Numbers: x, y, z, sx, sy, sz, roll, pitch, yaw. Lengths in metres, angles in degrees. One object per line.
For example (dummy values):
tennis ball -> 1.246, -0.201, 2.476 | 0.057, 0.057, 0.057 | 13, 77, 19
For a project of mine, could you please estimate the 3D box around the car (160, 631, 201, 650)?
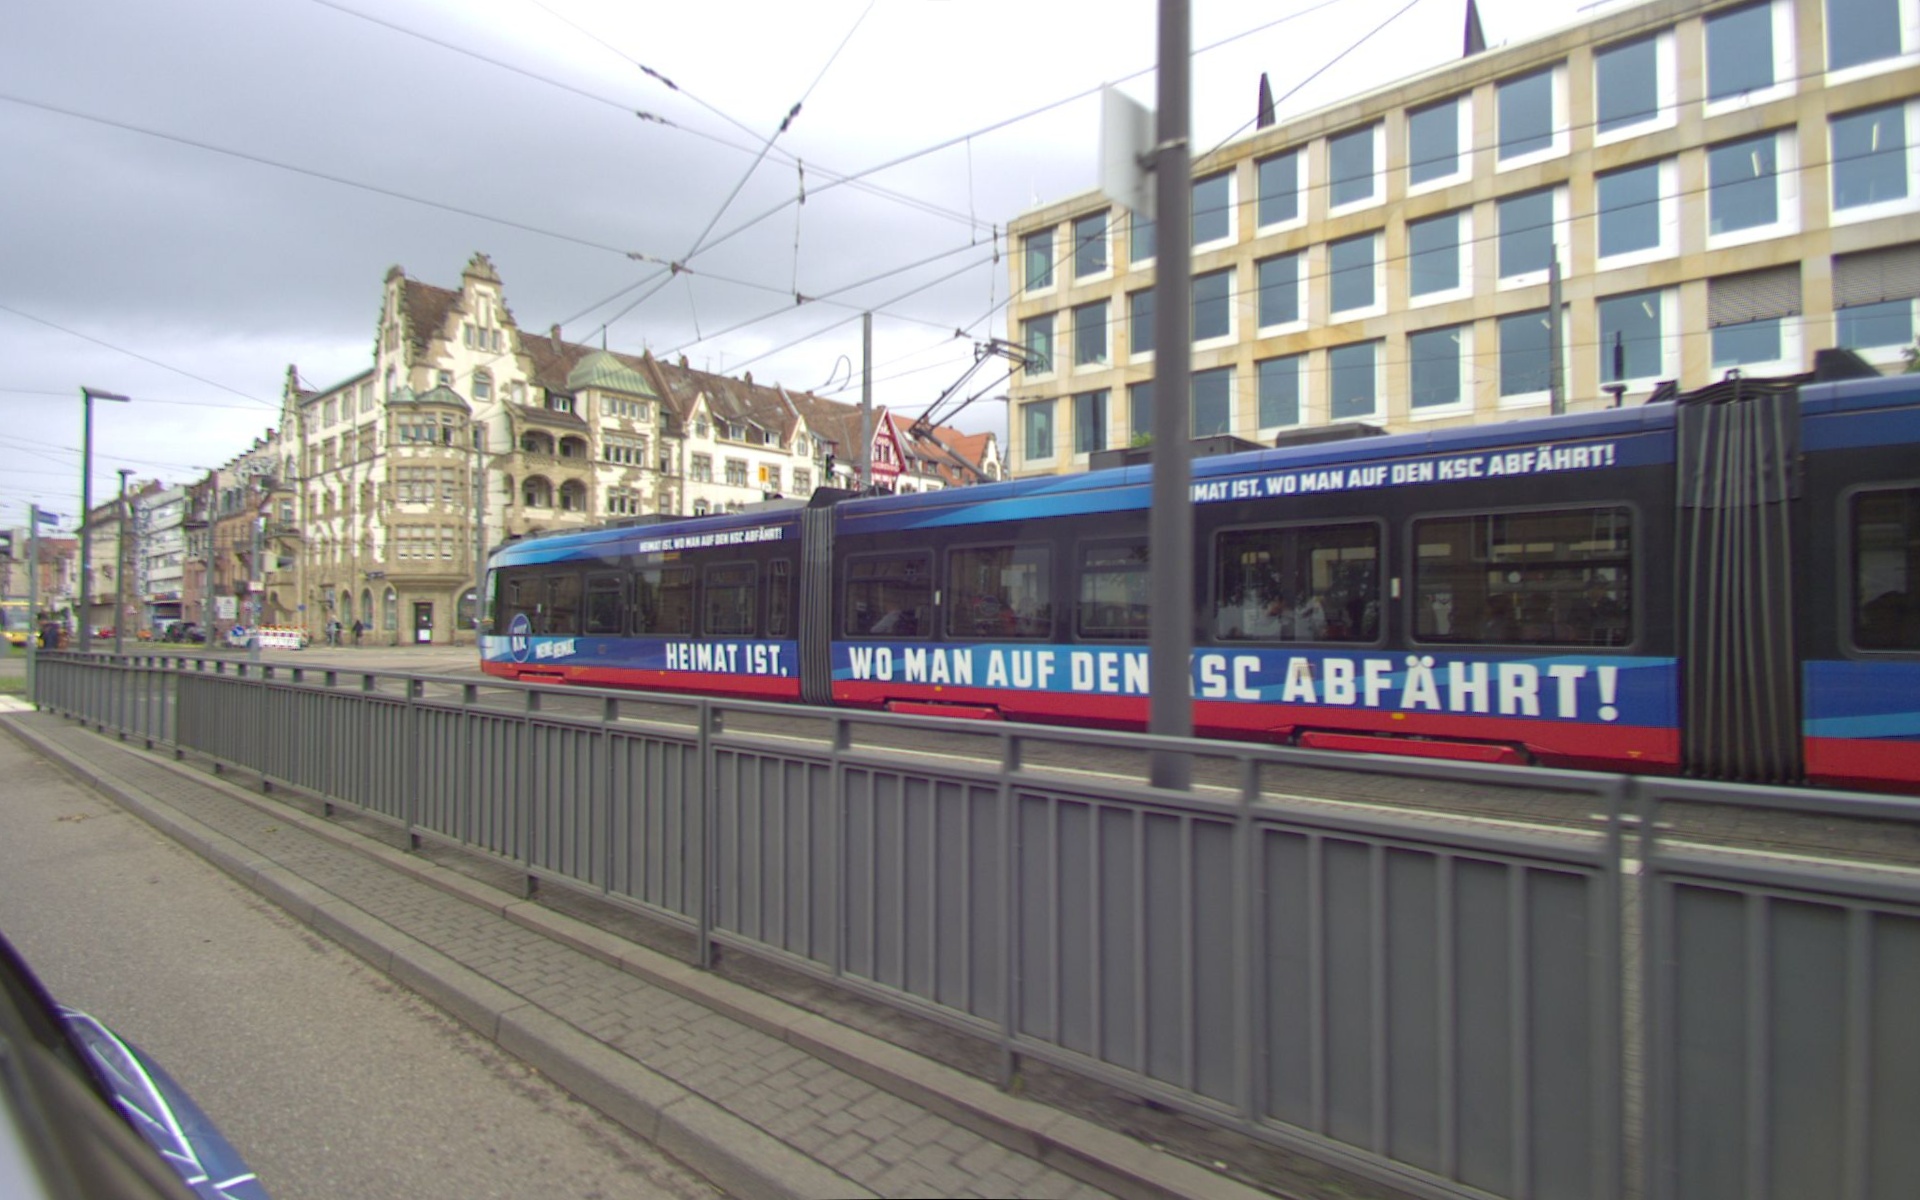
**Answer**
car -> -68.859, 3.571, 89.341 | 3.995, 1.608, 1.974 | -1, -2, 39

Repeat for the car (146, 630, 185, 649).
car -> -73.662, 3.648, 93.772 | 3.995, 1.608, 1.974 | -1, -2, 39

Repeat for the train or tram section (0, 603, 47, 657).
train or tram section -> -65.648, 2.018, 69.758 | 13.615, 3.463, 2.616 | -1, -2, 42

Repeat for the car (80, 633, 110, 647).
car -> -101.794, 4.719, 119.121 | 3.995, 1.608, 1.974 | -1, -2, 39

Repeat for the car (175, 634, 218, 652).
car -> -64.311, 3.579, 85.263 | 3.995, 1.453, 1.974 | -1, -2, 39

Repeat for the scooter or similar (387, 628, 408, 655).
scooter or similar -> -36.160, 2.675, 65.065 | 1.829, 1.728, 0.558 | -1, -2, 40

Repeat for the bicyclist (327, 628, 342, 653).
bicyclist -> -40.969, 2.641, 66.279 | 0.712, 1.618, 0.861 | 1, -3, -36

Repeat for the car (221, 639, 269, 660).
car -> -54.496, 3.737, 77.157 | 3.995, 1.453, 1.974 | -1, -2, 39

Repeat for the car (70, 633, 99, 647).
car -> -106.152, 4.845, 122.707 | 3.995, 1.608, 1.974 | -1, -2, 39

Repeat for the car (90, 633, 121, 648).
car -> -97.186, 4.572, 115.102 | 3.995, 1.608, 1.974 | -1, -2, 39

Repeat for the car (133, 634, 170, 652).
car -> -78.733, 4.174, 98.531 | 3.995, 1.608, 1.974 | -1, -2, 39

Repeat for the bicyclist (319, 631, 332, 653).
bicyclist -> -42.919, 2.814, 68.424 | 0.696, 1.455, 0.975 | 1, -3, -31

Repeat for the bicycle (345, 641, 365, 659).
bicycle -> -37.081, 3.080, 62.023 | 0.739, 1.045, 1.917 | 1, -4, -42

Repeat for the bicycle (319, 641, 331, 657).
bicycle -> -42.917, 3.325, 68.407 | 0.696, 1.045, 2.028 | 1, -3, -31

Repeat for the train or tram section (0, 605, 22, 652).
train or tram section -> -75.738, 2.198, 78.854 | 13.615, 3.463, 2.616 | -1, -2, 42

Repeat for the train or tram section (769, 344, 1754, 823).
train or tram section -> 2.417, -0.038, 12.665 | 11.694, 3.668, 2.825 | -1, -2, 41

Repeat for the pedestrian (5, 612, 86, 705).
pedestrian -> -16.670, 1.057, 18.468 | 0.644, 1.655, 0.860 | 0, -2, 0

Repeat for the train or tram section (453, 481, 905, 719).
train or tram section -> -6.322, 0.097, 20.571 | 11.759, 3.668, 2.825 | -1, -2, 41

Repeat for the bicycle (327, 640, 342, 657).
bicycle -> -40.886, 3.172, 66.149 | 0.712, 1.045, 1.913 | 1, -3, -36

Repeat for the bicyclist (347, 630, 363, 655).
bicyclist -> -37.089, 2.618, 62.038 | 0.739, 1.532, 0.766 | 1, -4, -42

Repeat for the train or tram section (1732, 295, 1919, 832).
train or tram section -> 11.873, -0.289, 4.289 | 13.514, 3.720, 2.825 | -1, -2, 41
